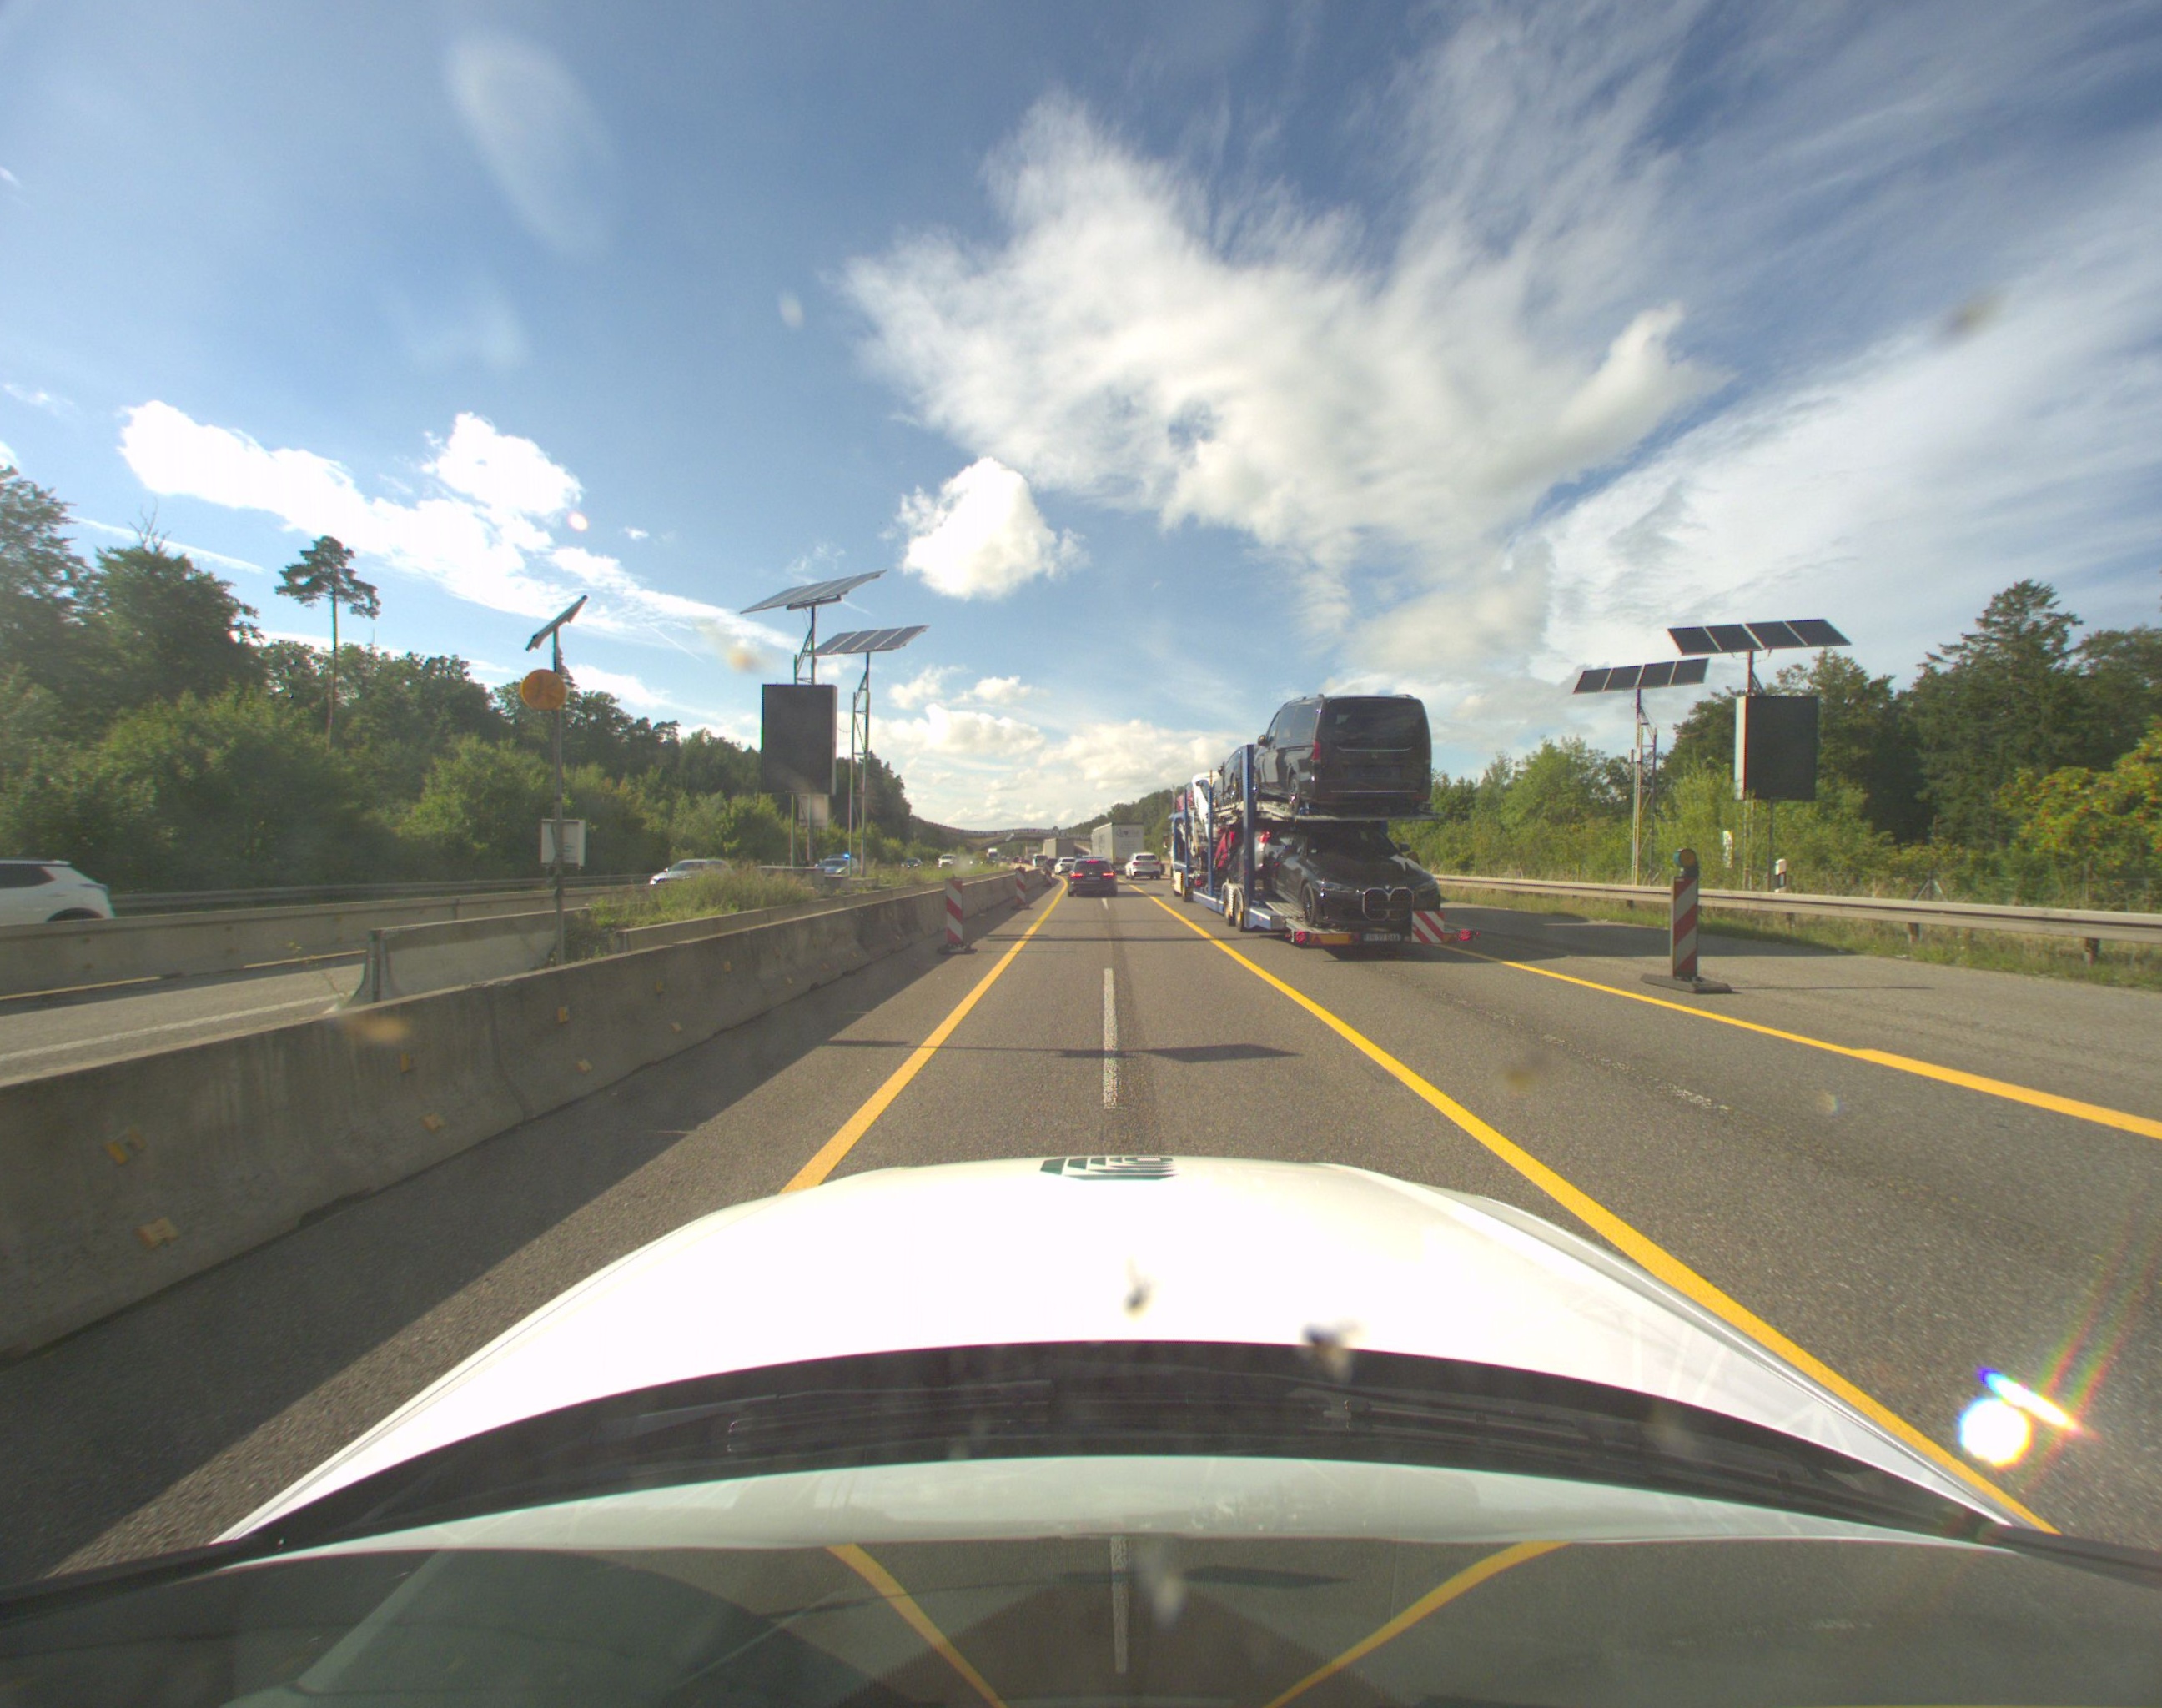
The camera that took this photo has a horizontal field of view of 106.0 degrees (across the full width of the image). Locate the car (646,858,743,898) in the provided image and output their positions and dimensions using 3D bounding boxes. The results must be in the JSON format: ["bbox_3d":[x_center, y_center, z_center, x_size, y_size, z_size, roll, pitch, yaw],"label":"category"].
[{"bbox_3d":[-16.607,0.974,35.257,1.770,1.602,4.680,0,0,3],"label":"car"}]

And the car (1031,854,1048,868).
[{"bbox_3d":[-5.154,0.897,101.097,1.888,1.643,4.008,0,0,-7],"label":"car"}]

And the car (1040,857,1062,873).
[{"bbox_3d":[-3.244,1.132,87.184,1.889,1.643,4.006,0,0,-8],"label":"car"}]

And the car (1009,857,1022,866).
[{"bbox_3d":[-11.277,1.278,140.200,1.779,1.602,4.002,0,0,-11],"label":"car"}]

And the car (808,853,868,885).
[{"bbox_3d":[-12.932,0.781,43.653,1.772,1.602,4.676,0,0,0],"label":"car"}]

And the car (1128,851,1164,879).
[{"bbox_3d":[4.041,0.663,51.203,1.884,1.643,4.017,0,0,0],"label":"car"}]

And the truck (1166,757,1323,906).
[{"bbox_3d":[5.057,-0.629,27.073,3.748,4.196,7.952,0,0,1],"label":"truck"}]

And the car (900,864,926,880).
[{"bbox_3d":[-17.787,1.928,86.517,1.772,1.602,4.676,0,0,0],"label":"car"}]

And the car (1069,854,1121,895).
[{"bbox_3d":[0.500,0.740,31.423,1.884,1.446,3.999,0,0,0],"label":"car"}]

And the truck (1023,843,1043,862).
[{"bbox_3d":[-10.301,-0.224,173.081,3.651,3.928,11.039,0,0,-7],"label":"truck"}]

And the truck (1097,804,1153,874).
[{"bbox_3d":[3.540,-1.123,71.271,3.667,5.353,16.191,0,0,-1],"label":"truck"}]

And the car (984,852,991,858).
[{"bbox_3d":[-27.385,0.350,238.160,1.775,1.866,3.997,0,0,-2],"label":"car"}]

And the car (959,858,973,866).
[{"bbox_3d":[-21.162,1.468,150.404,1.962,1.602,4.944,0,0,-1],"label":"car"}]

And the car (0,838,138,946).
[{"bbox_3d":[-16.871,0.567,11.740,1.770,1.602,4.021,0,0,3],"label":"car"}]

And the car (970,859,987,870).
[{"bbox_3d":[-15.142,1.575,120.478,1.962,1.602,4.946,0,0,0],"label":"car"}]

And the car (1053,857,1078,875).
[{"bbox_3d":[-1.303,0.984,66.972,1.886,1.446,3.996,0,0,-3],"label":"car"}]

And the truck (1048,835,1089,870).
[{"bbox_3d":[-1.910,-0.188,115.169,4.317,4.600,11.092,0,0,-8],"label":"truck"}]

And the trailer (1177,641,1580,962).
[{"bbox_3d":[4.880,-0.662,18.856,3.713,4.196,16.231,0,0,1],"label":"trailer"}]

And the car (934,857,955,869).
[{"bbox_3d":[-18.640,1.238,111.393,1.962,1.602,4.946,0,0,0],"label":"car"}]
